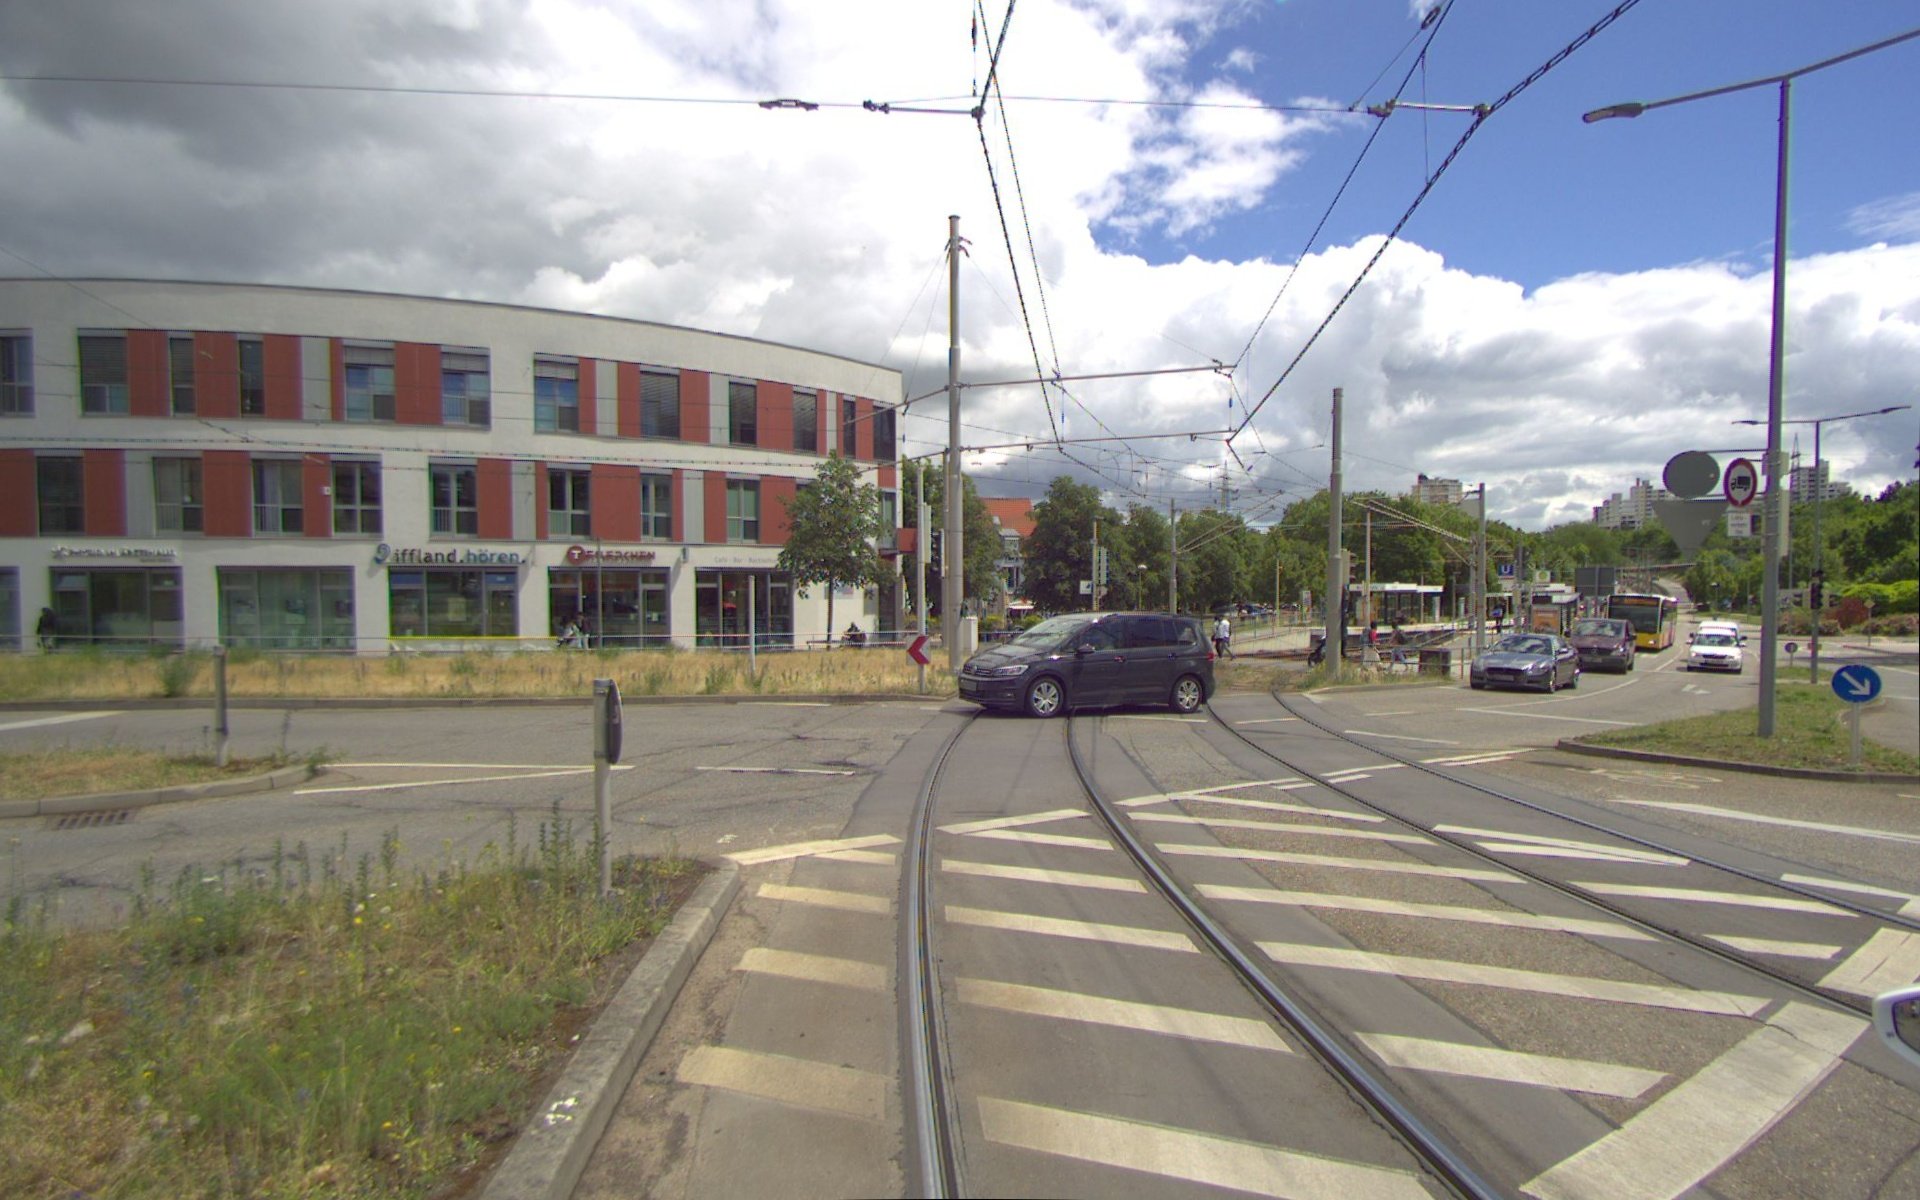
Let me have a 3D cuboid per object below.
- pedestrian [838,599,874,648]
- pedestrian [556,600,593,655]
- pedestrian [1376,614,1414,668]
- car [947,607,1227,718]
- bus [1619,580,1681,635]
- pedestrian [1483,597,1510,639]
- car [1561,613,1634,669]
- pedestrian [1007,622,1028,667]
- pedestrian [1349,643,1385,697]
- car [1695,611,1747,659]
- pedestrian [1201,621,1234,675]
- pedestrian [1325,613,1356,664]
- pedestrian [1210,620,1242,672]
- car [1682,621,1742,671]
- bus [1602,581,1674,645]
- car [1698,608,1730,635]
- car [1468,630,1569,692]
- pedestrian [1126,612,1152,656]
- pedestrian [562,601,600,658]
[{"bbox_3d":[-4.482,1.007,43.340,1.127,2.040,1.246,0,0,-33],"label":"pedestrian"},{"bbox_3d":[-14.504,1.018,37.781,1.125,2.040,1.248,0,0,-28],"label":"pedestrian"},{"bbox_3d":[13.732,1.283,31.693,0.852,1.658,0.916,0,-1,42],"label":"pedestrian"},{"bbox_3d":[2.081,0.956,16.316,4.240,1.601,1.799,1,-1,-26],"label":"car"},{"bbox_3d":[43.745,0.365,63.585,2.692,3.111,8.925,1,2,38],"label":"bus"},{"bbox_3d":[26.358,0.897,49.323,0.960,2.040,1.024,0,0,41],"label":"pedestrian"},{"bbox_3d":[23.328,1.460,36.674,1.967,1.846,5.055,2,0,35],"label":"car"},{"bbox_3d":[2.314,1.791,40.523,0.657,1.758,0.835,1,0,17],"label":"pedestrian"},{"bbox_3d":[12.556,2.153,30.988,0.789,1.561,0.832,4,2,36],"label":"pedestrian"},{"bbox_3d":[34.290,1.529,45.335,1.738,1.685,4.489,0,4,35],"label":"car"},{"bbox_3d":[9.137,1.691,35.682,0.896,1.846,0.768,0,0,42],"label":"pedestrian"},{"bbox_3d":[12.410,1.243,32.792,0.818,1.617,0.643,1,0,10],"label":"pedestrian"},{"bbox_3d":[9.694,1.662,36.597,0.896,1.846,0.768,0,0,42],"label":"pedestrian"},{"bbox_3d":[28.742,1.695,38.486,1.676,1.671,4.064,2,1,35],"label":"car"},{"bbox_3d":[38.002,0.597,56.162,2.692,3.151,9.662,1,2,38],"label":"bus"},{"bbox_3d":[47.536,1.325,63.374,1.510,1.572,3.718,3,1,36],"label":"car"},{"bbox_3d":[14.774,1.541,26.443,1.773,1.429,5.036,1,-1,35],"label":"car"},{"bbox_3d":[6.772,1.267,37.912,0.819,1.625,0.670,0,0,25],"label":"pedestrian"},{"bbox_3d":[-13.794,1.057,36.523,1.125,2.040,1.248,0,0,-28],"label":"pedestrian"}]
